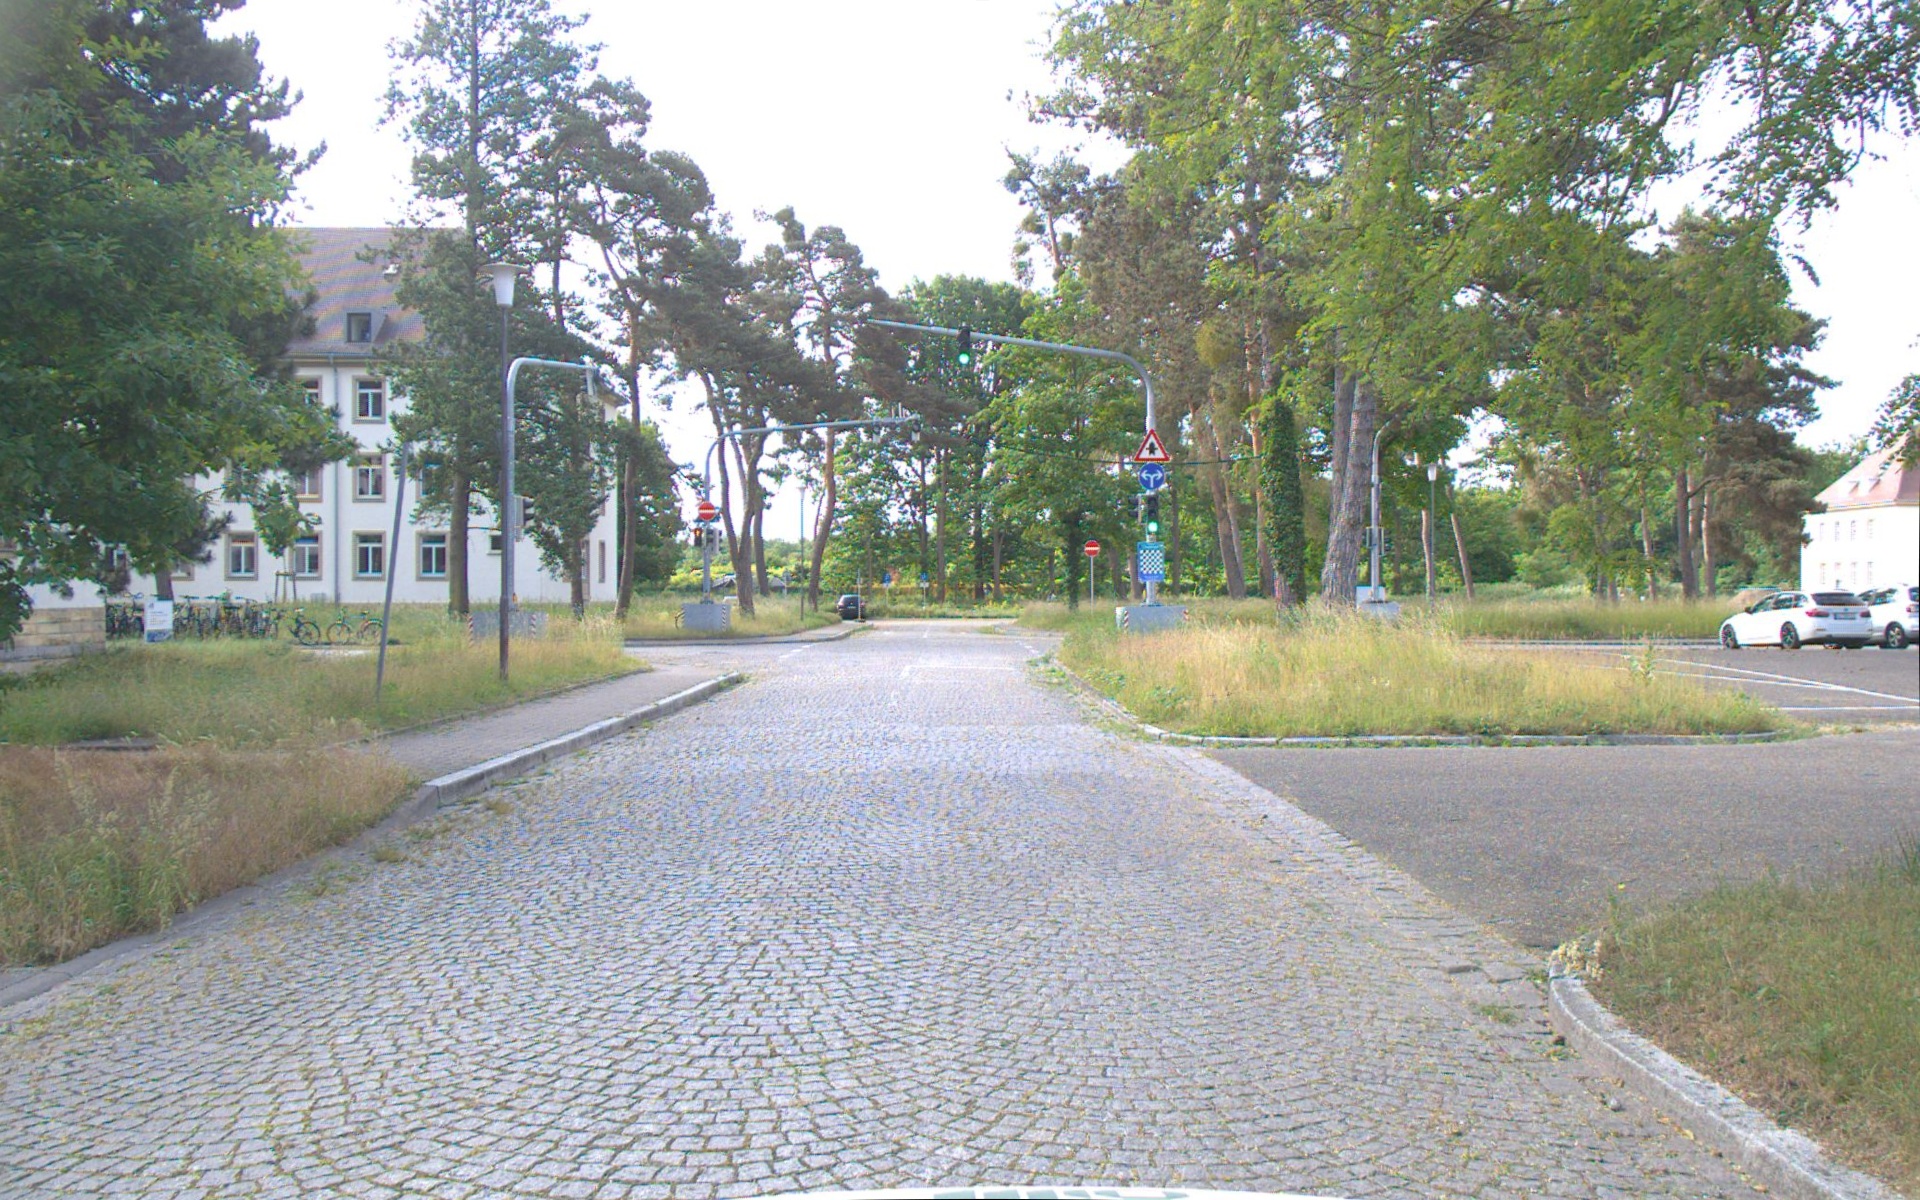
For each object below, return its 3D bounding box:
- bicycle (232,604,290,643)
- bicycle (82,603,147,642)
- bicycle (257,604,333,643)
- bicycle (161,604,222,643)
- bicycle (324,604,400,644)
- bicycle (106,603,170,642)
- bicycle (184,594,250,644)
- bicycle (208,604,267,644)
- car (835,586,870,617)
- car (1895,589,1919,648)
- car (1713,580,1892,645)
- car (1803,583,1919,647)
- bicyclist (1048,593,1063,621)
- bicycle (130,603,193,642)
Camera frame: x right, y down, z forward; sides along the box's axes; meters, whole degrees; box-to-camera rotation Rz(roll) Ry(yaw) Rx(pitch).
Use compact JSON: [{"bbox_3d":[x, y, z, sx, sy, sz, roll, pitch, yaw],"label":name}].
[{"bbox_3d":[-20.145,0.668,47.692,0.721,1.095,2.273,0,0,0],"label":"bicycle"},{"bbox_3d":[-24.340,0.628,47.662,0.721,1.095,2.273,0,0,0],"label":"bicycle"},{"bbox_3d":[-18.669,0.659,46.466,1.818,1.095,0.738,0,0,1],"label":"bicycle"},{"bbox_3d":[-22.296,0.661,48.041,0.721,1.095,2.273,0,0,0],"label":"bicycle"},{"bbox_3d":[-16.818,0.665,46.536,1.818,1.095,0.831,0,0,1],"label":"bicycle"},{"bbox_3d":[-23.642,0.636,47.596,0.721,1.095,2.273,0,0,0],"label":"bicycle"},{"bbox_3d":[-21.508,0.526,47.944,0.721,1.410,2.711,0,0,0],"label":"bicycle"},{"bbox_3d":[-20.773,0.676,47.601,0.721,1.095,2.273,0,0,0],"label":"bicycle"},{"bbox_3d":[-6.751,0.097,104.038,2.014,1.878,3.999,0,0,-2],"label":"car"},{"bbox_3d":[25.827,0.448,41.526,1.954,1.507,4.421,0,-1,-4],"label":"car"},{"bbox_3d":[20.751,0.333,40.968,1.954,1.507,4.421,0,-1,-4],"label":"car"},{"bbox_3d":[23.215,0.388,41.189,1.954,1.507,4.421,0,-1,-4],"label":"car"},{"bbox_3d":[5.799,0.407,100.291,0.739,1.700,0.522,1,-1,-24],"label":"bicyclist"},{"bbox_3d":[-22.923,0.638,47.537,0.721,1.095,2.273,0,0,0],"label":"bicycle"}]
